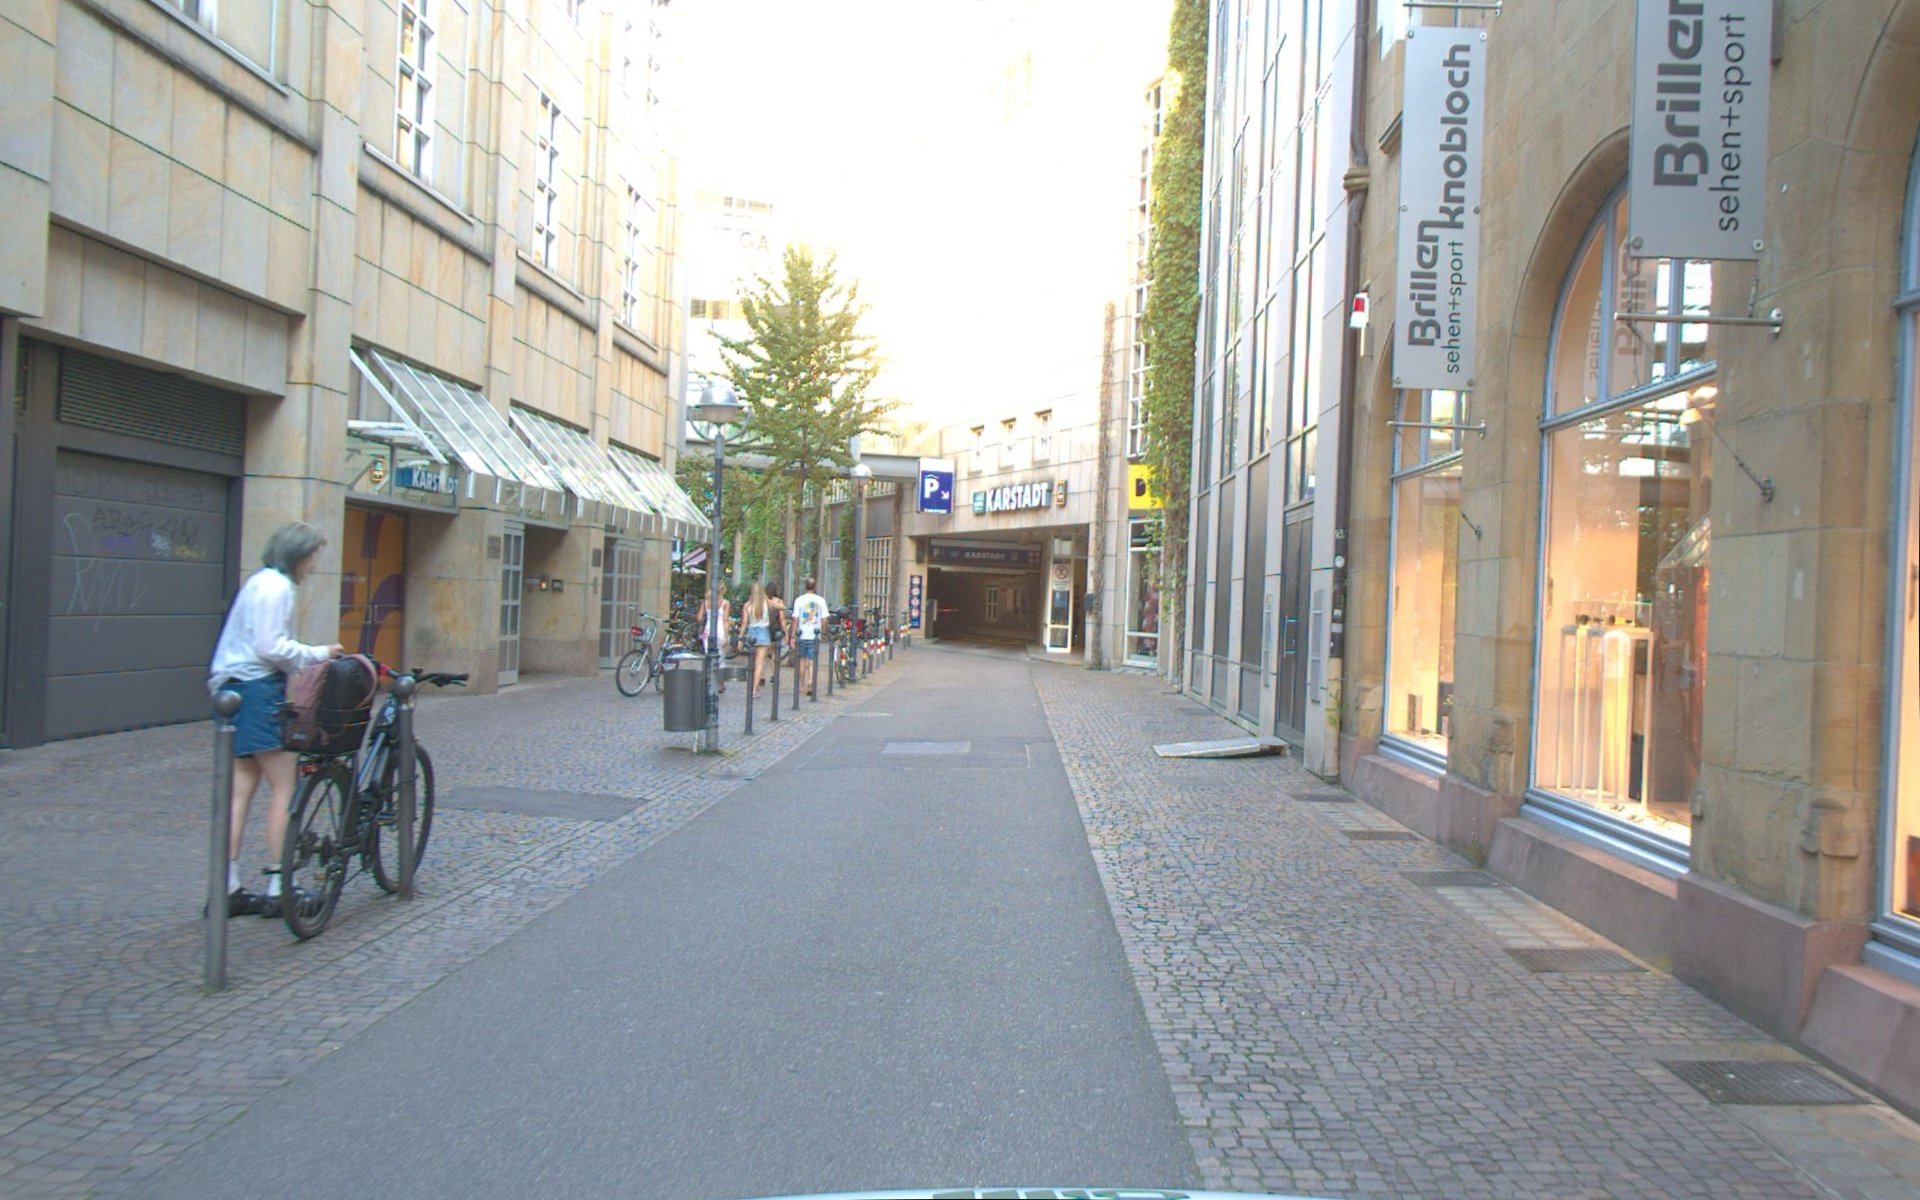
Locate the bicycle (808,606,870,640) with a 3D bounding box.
[{"bbox_3d":[-3.725,0.708,50.802,1.820,0.999,0.461,2,0,-20],"label":"bicycle"}]

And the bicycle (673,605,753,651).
[{"bbox_3d":[-6.081,0.690,40.698,1.867,1.070,0.531,1,0,-22],"label":"bicycle"}]

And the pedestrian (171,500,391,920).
[{"bbox_3d":[-2.962,0.475,7.283,0.756,1.748,0.588,4,0,-19],"label":"pedestrian"}]

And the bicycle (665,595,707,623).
[{"bbox_3d":[-12.056,0.397,72.789,1.747,1.211,0.583,2,0,-20],"label":"bicycle"}]

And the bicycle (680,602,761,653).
[{"bbox_3d":[-5.815,0.666,40.165,1.846,1.198,0.531,1,0,-22],"label":"bicycle"}]

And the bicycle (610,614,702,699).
[{"bbox_3d":[-4.350,0.791,23.759,0.510,1.158,1.765,2,0,17],"label":"bicycle"}]

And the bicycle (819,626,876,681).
[{"bbox_3d":[-2.067,0.980,30.546,0.482,0.955,1.660,3,0,16],"label":"bicycle"}]

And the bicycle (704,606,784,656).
[{"bbox_3d":[-5.117,0.745,39.202,1.810,1.142,0.531,1,0,-22],"label":"bicycle"}]

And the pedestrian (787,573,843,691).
[{"bbox_3d":[-2.340,0.506,26.635,0.730,1.854,0.875,2,0,-14],"label":"pedestrian"}]

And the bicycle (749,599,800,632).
[{"bbox_3d":[-6.679,0.564,59.496,1.747,1.134,0.540,2,0,-20],"label":"bicycle"}]

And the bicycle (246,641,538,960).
[{"bbox_3d":[-2.491,0.814,7.495,0.522,1.173,1.915,4,0,2],"label":"bicycle"}]

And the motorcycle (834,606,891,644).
[{"bbox_3d":[-2.897,0.741,49.165,1.638,1.069,0.461,2,0,-20],"label":"motorcycle"}]

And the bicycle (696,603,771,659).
[{"bbox_3d":[-5.243,0.724,38.311,1.630,1.252,0.531,1,0,-22],"label":"bicycle"}]

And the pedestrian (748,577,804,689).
[{"bbox_3d":[-3.076,0.538,27.722,0.769,1.826,0.972,2,0,0],"label":"pedestrian"}]

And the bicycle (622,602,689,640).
[{"bbox_3d":[-8.649,0.594,46.947,1.799,1.061,0.531,1,0,-22],"label":"bicycle"}]

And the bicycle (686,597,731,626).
[{"bbox_3d":[-10.292,0.485,67.573,1.745,1.134,0.540,2,0,-17],"label":"bicycle"}]

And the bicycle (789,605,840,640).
[{"bbox_3d":[-4.623,0.707,52.614,1.516,1.067,0.572,2,0,-20],"label":"bicycle"}]

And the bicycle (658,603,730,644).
[{"bbox_3d":[-7.261,0.647,45.172,1.850,1.061,0.531,1,0,-22],"label":"bicycle"}]

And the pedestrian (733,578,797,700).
[{"bbox_3d":[-2.893,0.565,24.622,0.790,1.760,0.948,2,0,-2],"label":"pedestrian"}]

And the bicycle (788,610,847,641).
[{"bbox_3d":[-4.456,0.800,51.677,1.747,0.920,0.461,2,0,-20],"label":"bicycle"}]

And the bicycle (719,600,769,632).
[{"bbox_3d":[-8.063,0.595,61.769,1.747,1.134,0.540,2,0,-20],"label":"bicycle"}]

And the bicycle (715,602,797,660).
[{"bbox_3d":[-4.560,0.690,37.024,1.741,1.252,0.531,1,0,-22],"label":"bicycle"}]

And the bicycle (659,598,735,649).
[{"bbox_3d":[-6.577,0.590,41.378,1.807,1.246,0.531,1,0,-22],"label":"bicycle"}]

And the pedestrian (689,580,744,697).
[{"bbox_3d":[-3.609,0.560,24.557,0.661,1.693,0.860,2,0,-3],"label":"pedestrian"}]
